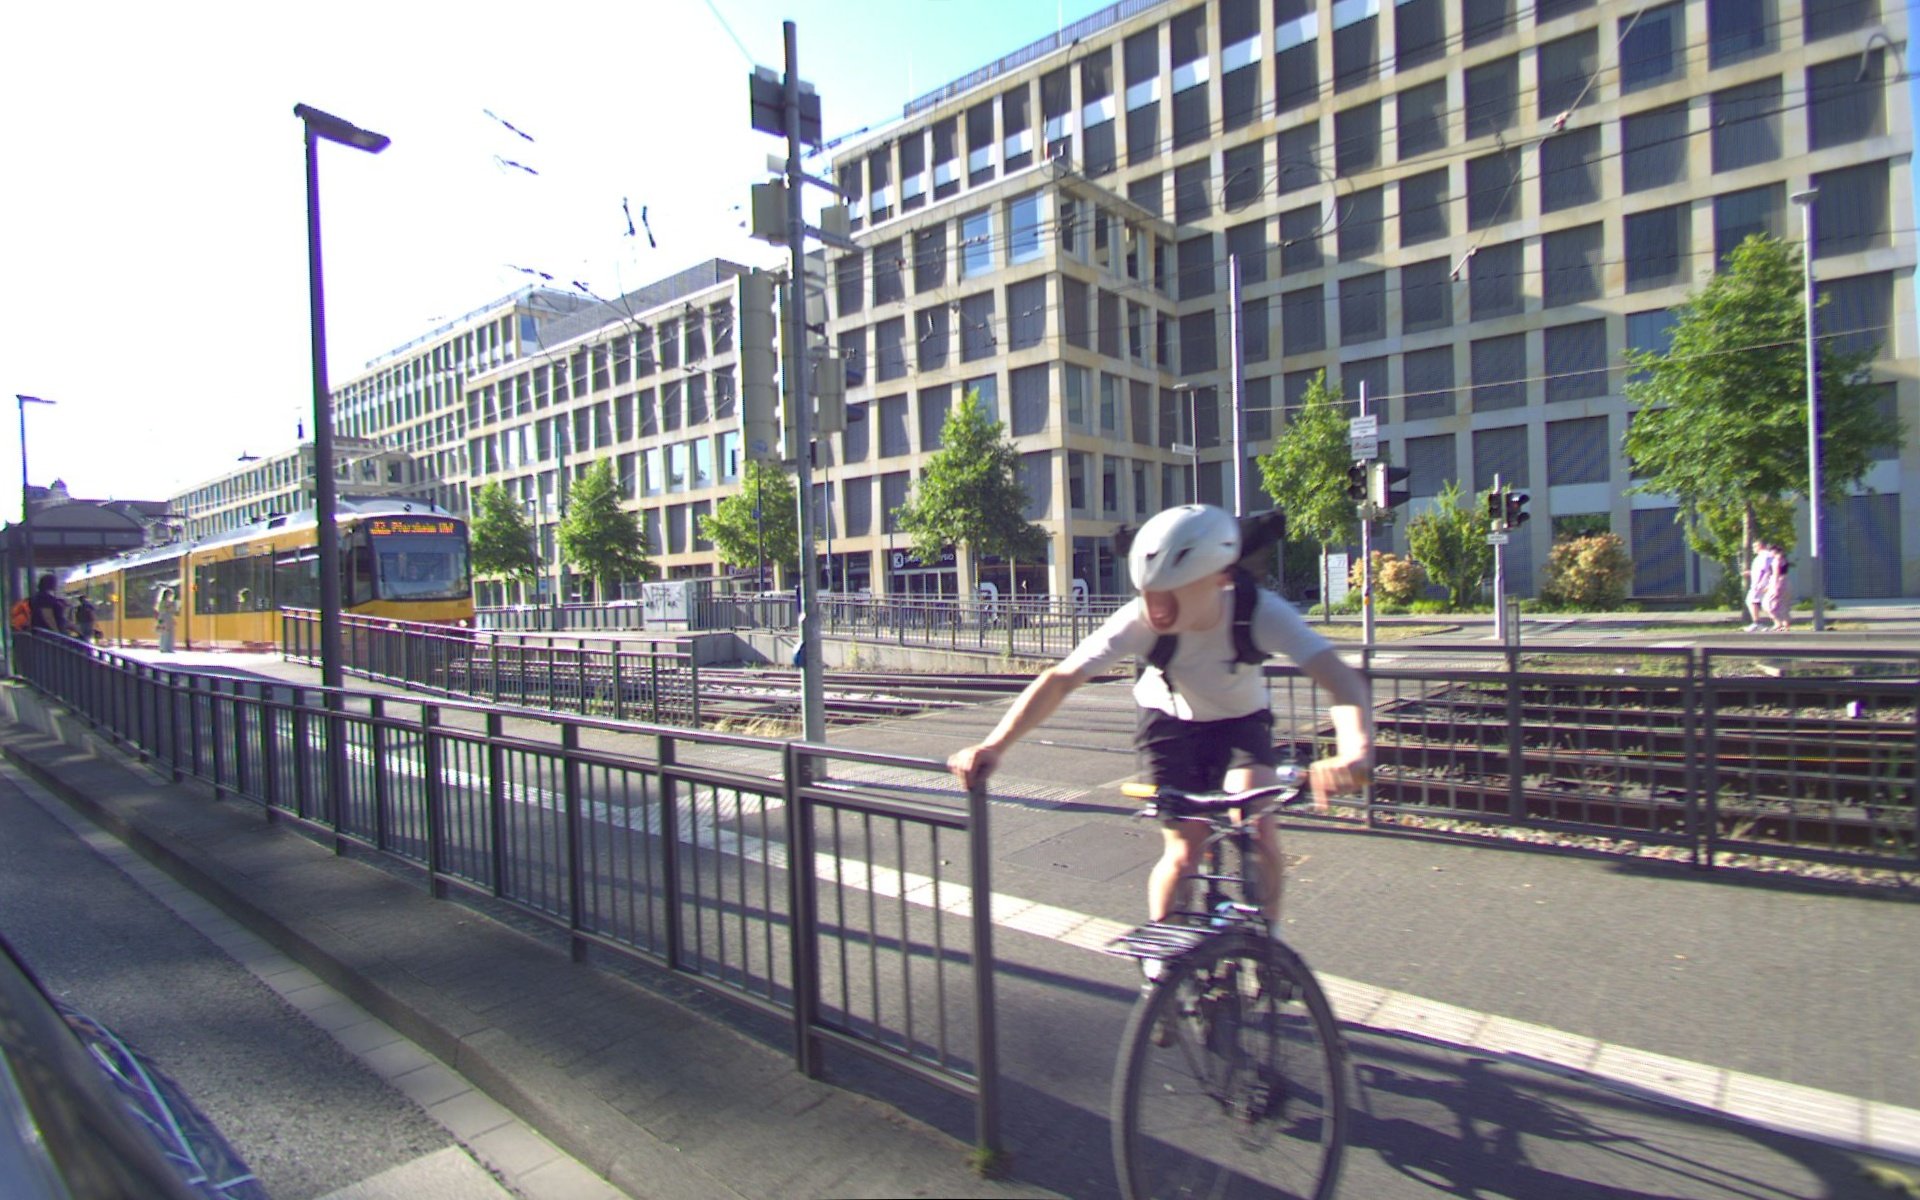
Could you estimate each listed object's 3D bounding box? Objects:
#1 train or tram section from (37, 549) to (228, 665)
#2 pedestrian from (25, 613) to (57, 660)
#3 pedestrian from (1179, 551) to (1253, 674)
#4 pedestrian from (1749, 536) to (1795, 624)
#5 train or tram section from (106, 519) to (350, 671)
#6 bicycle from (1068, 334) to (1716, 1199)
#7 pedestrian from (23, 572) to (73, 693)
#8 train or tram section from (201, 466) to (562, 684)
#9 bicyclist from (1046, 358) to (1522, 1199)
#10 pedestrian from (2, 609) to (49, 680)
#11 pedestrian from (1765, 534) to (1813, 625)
[{"bbox_3d":[-32.615,0.345,39.502,14.210,3.858,3.275,-2,1,41],"label":"train or tram section"},{"bbox_3d":[-35.867,1.416,39.494,0.625,1.797,0.785,-2,0,41],"label":"pedestrian"},{"bbox_3d":[3.731,0.177,14.747,0.660,1.729,0.726,-3,0,-37],"label":"pedestrian"},{"bbox_3d":[16.408,-0.399,20.469,0.670,1.729,0.657,-2,0,39],"label":"pedestrian"},{"bbox_3d":[-22.597,-0.031,30.806,11.836,3.858,3.275,-2,1,41],"label":"train or tram section"},{"bbox_3d":[0.763,0.471,2.491,0.582,1.729,1.975,-2,1,-4],"label":"bicycle"},{"bbox_3d":[-13.330,0.469,14.794,0.665,1.729,0.407,-2,0,41],"label":"pedestrian"},{"bbox_3d":[-13.603,-0.342,22.991,11.836,3.858,3.275,-2,1,41],"label":"train or tram section"},{"bbox_3d":[0.683,0.397,2.451,0.760,1.729,0.910,-2,0,-3],"label":"bicyclist"},{"bbox_3d":[-17.889,0.847,19.370,0.500,1.303,0.561,-2,1,41],"label":"pedestrian"},{"bbox_3d":[16.191,-0.393,19.782,0.670,1.729,0.657,-2,0,39],"label":"pedestrian"}]
